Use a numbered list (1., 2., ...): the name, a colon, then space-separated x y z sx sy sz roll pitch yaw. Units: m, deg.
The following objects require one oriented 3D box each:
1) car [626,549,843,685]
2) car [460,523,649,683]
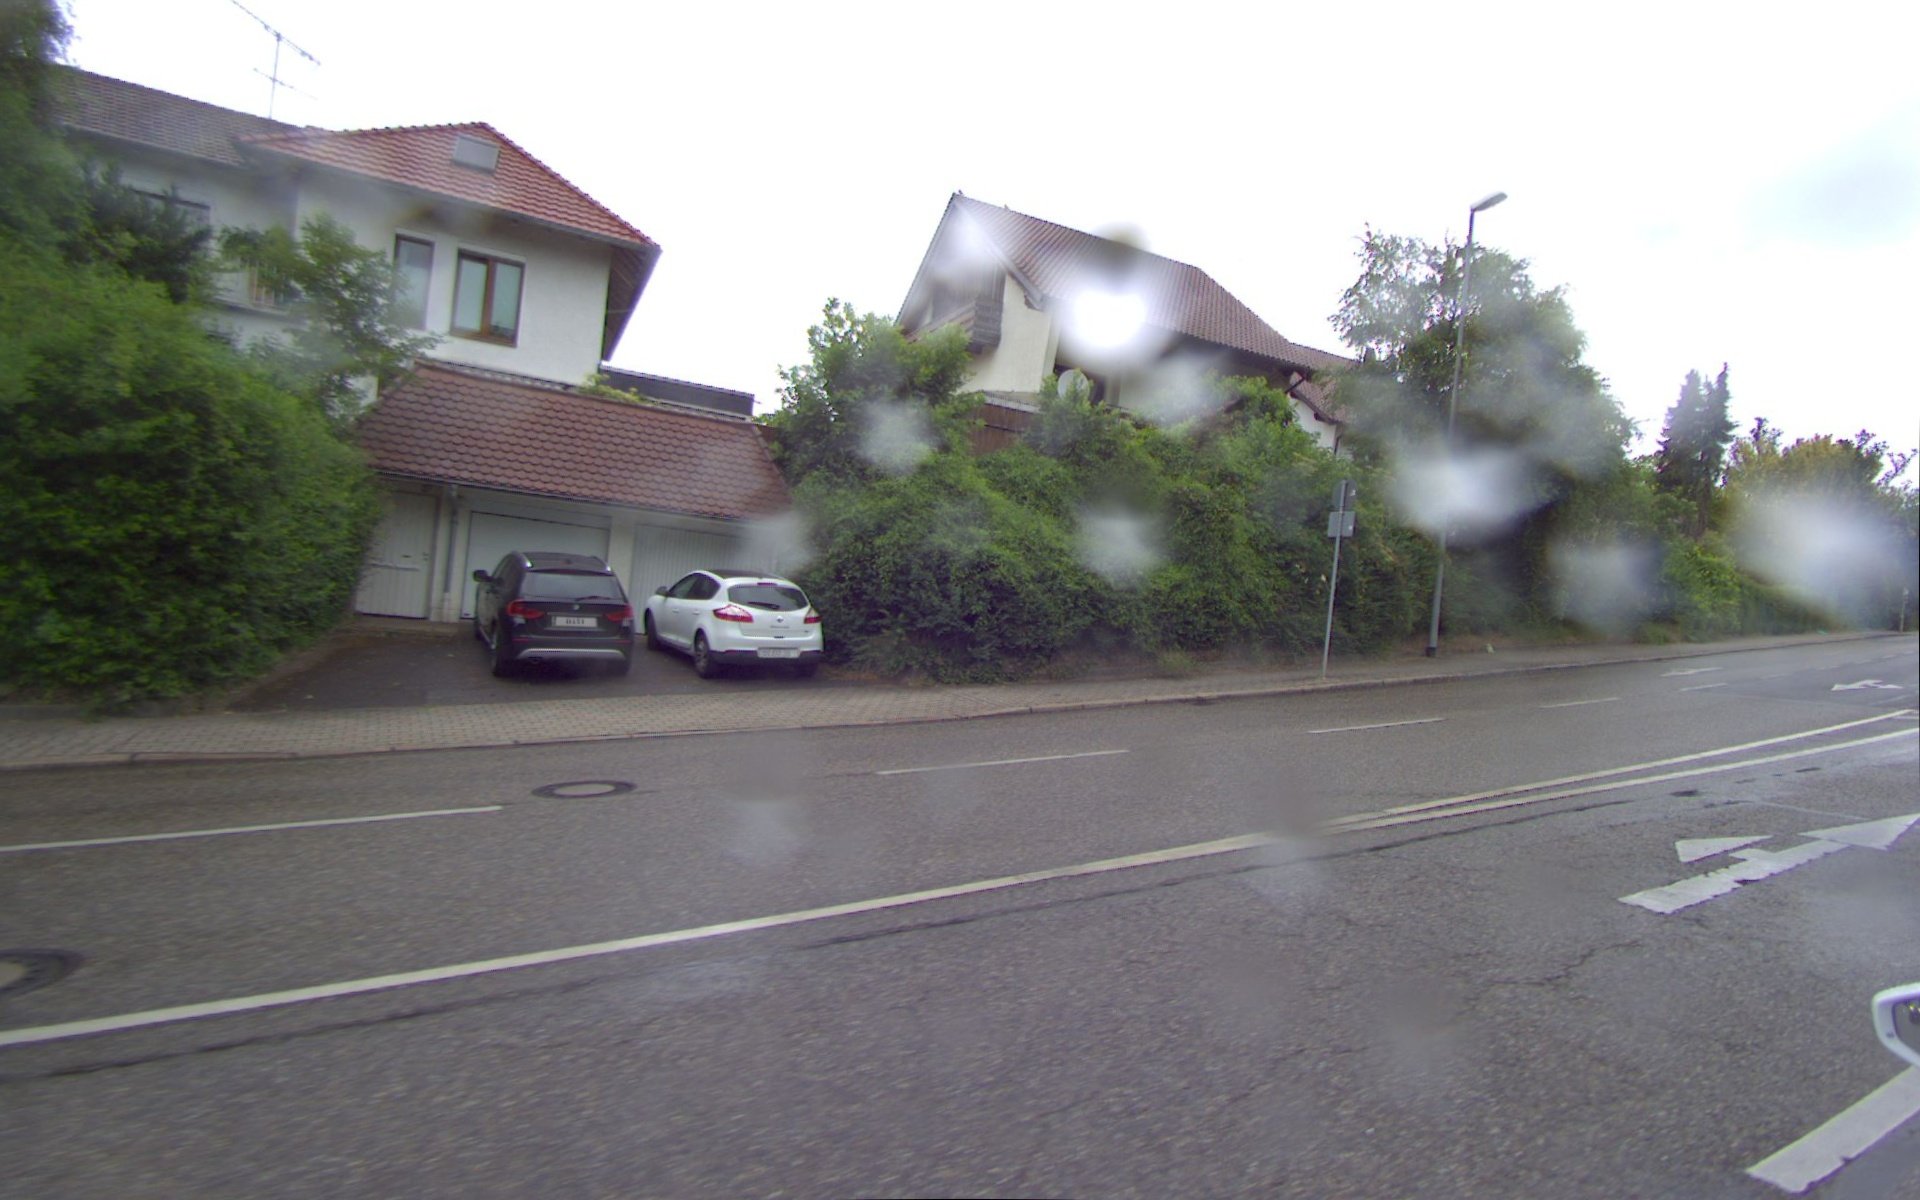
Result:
1. car: -3.627 0.182 15.587 1.838 1.467 3.959 2 7 -36
2. car: -5.945 -0.044 14.438 1.835 1.701 3.965 3 6 -32
